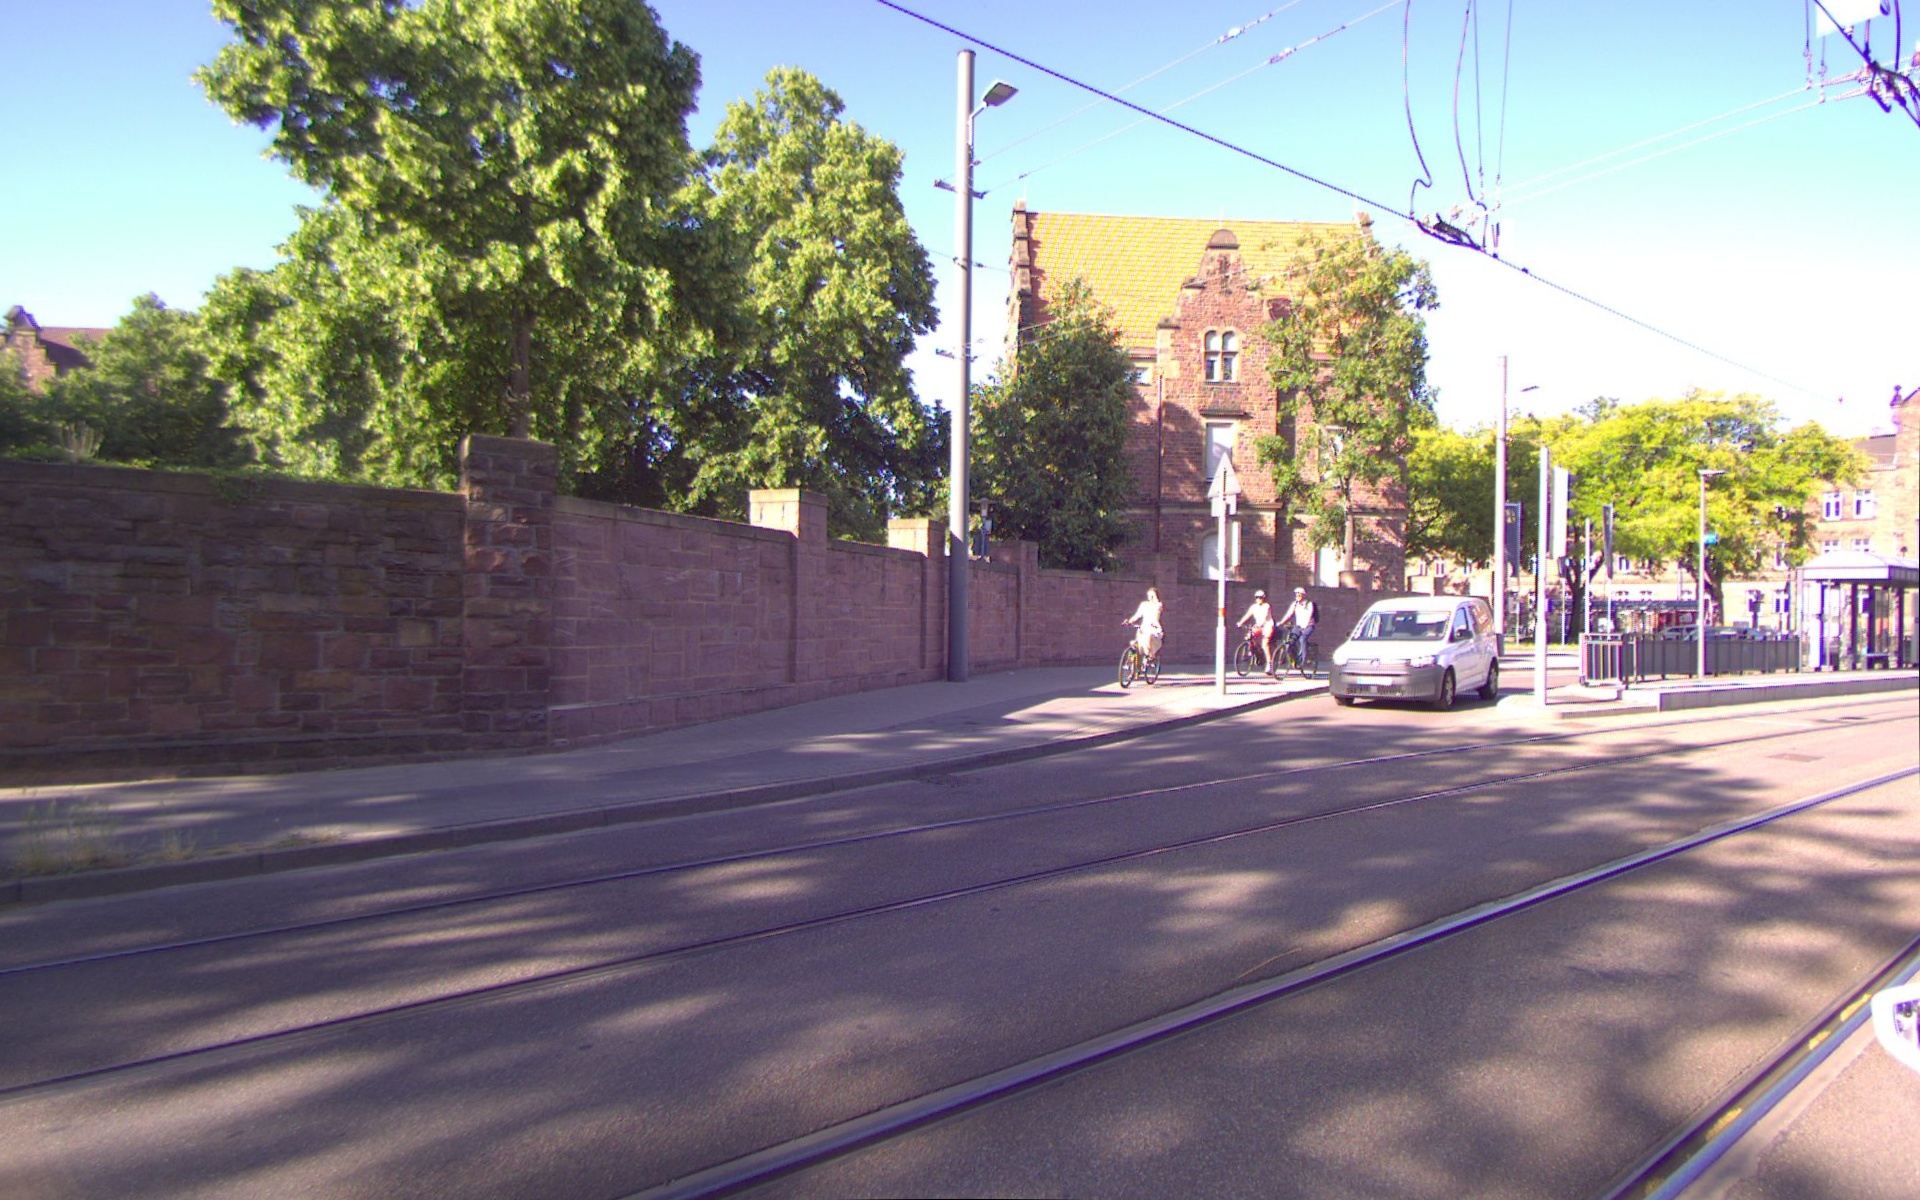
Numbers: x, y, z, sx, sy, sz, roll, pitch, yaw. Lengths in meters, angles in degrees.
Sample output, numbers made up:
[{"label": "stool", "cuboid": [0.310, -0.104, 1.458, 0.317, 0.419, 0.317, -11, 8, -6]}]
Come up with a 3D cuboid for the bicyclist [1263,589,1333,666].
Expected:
[{"label": "bicyclist", "cuboid": [7.128, 0.576, 21.150, 1.335, 1.557, 0.755, 1, -1, -35]}]

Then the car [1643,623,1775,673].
[{"label": "car", "cuboid": [22.428, 1.398, 30.025, 4.448, 1.400, 1.787, 1, -2, -34]}]

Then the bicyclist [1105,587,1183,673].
[{"label": "bicyclist", "cuboid": [3.310, 0.533, 18.070, 1.179, 1.490, 0.751, 2, 0, -37]}]

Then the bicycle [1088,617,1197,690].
[{"label": "bicycle", "cuboid": [3.294, 0.947, 18.065, 1.934, 1.214, 0.809, 2, 0, -37]}]

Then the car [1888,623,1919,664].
[{"label": "car", "cuboid": [40.384, 1.833, 41.758, 4.285, 1.638, 1.815, 2, -1, -35]}]

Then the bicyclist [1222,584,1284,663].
[{"label": "bicyclist", "cuboid": [6.445, 0.501, 22.086, 1.221, 1.697, 0.646, 0, 1, -35]}]

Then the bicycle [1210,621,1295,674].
[{"label": "bicycle", "cuboid": [6.437, 1.023, 22.082, 1.994, 1.087, 0.664, 1, 1, -35]}]

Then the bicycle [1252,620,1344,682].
[{"label": "bicycle", "cuboid": [7.128, 1.058, 21.138, 2.068, 1.247, 0.772, 1, -1, -36]}]

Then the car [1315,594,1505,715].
[{"label": "car", "cuboid": [7.835, 0.844, 17.274, 1.806, 1.812, 4.232, 0, 0, 42]}]
